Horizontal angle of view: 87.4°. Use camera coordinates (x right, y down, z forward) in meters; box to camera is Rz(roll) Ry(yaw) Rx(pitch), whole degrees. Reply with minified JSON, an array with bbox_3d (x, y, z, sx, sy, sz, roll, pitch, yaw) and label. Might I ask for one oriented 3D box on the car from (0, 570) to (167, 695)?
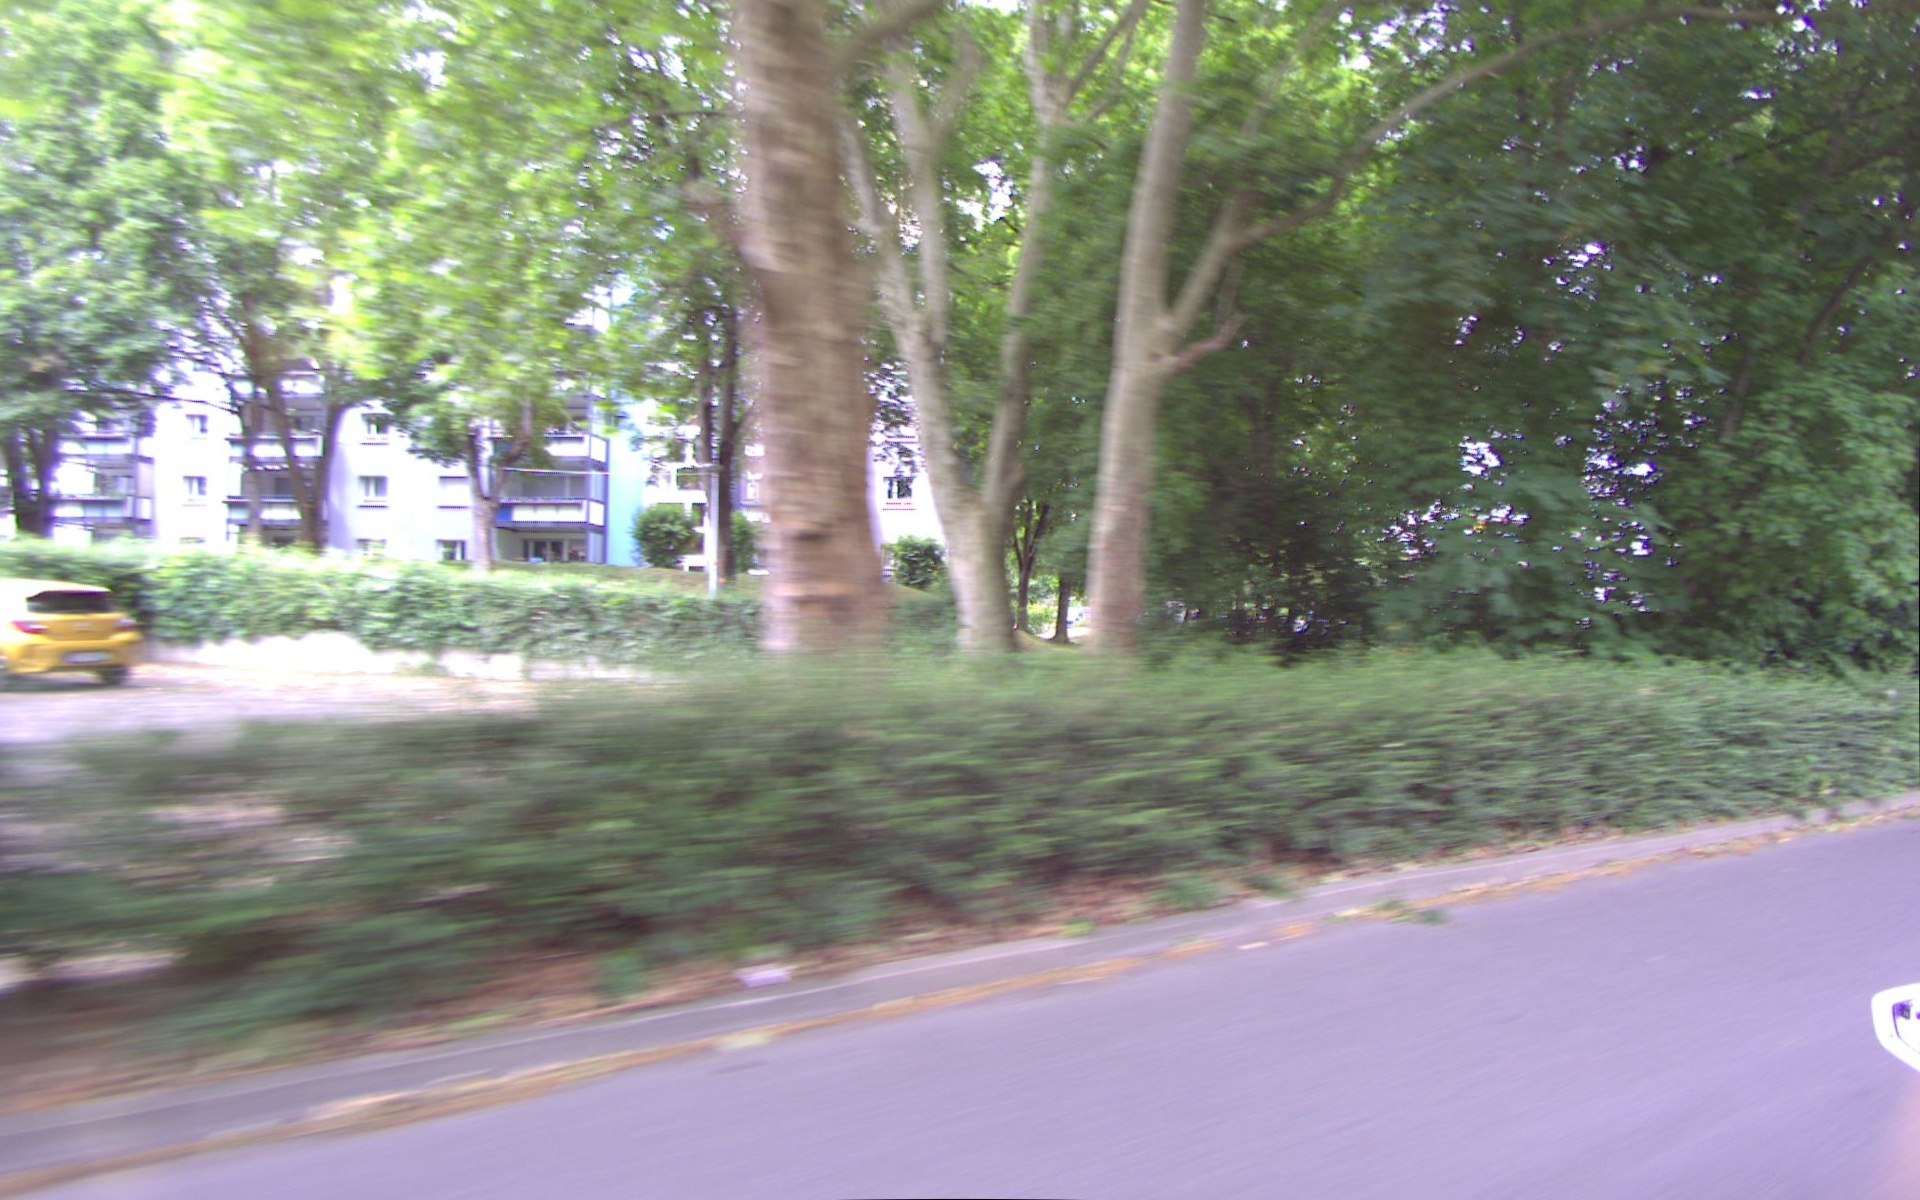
[{"bbox_3d":[-13.845,0.403,14.512,3.920,1.632,1.750,1,-1,16],"label":"car"}]
